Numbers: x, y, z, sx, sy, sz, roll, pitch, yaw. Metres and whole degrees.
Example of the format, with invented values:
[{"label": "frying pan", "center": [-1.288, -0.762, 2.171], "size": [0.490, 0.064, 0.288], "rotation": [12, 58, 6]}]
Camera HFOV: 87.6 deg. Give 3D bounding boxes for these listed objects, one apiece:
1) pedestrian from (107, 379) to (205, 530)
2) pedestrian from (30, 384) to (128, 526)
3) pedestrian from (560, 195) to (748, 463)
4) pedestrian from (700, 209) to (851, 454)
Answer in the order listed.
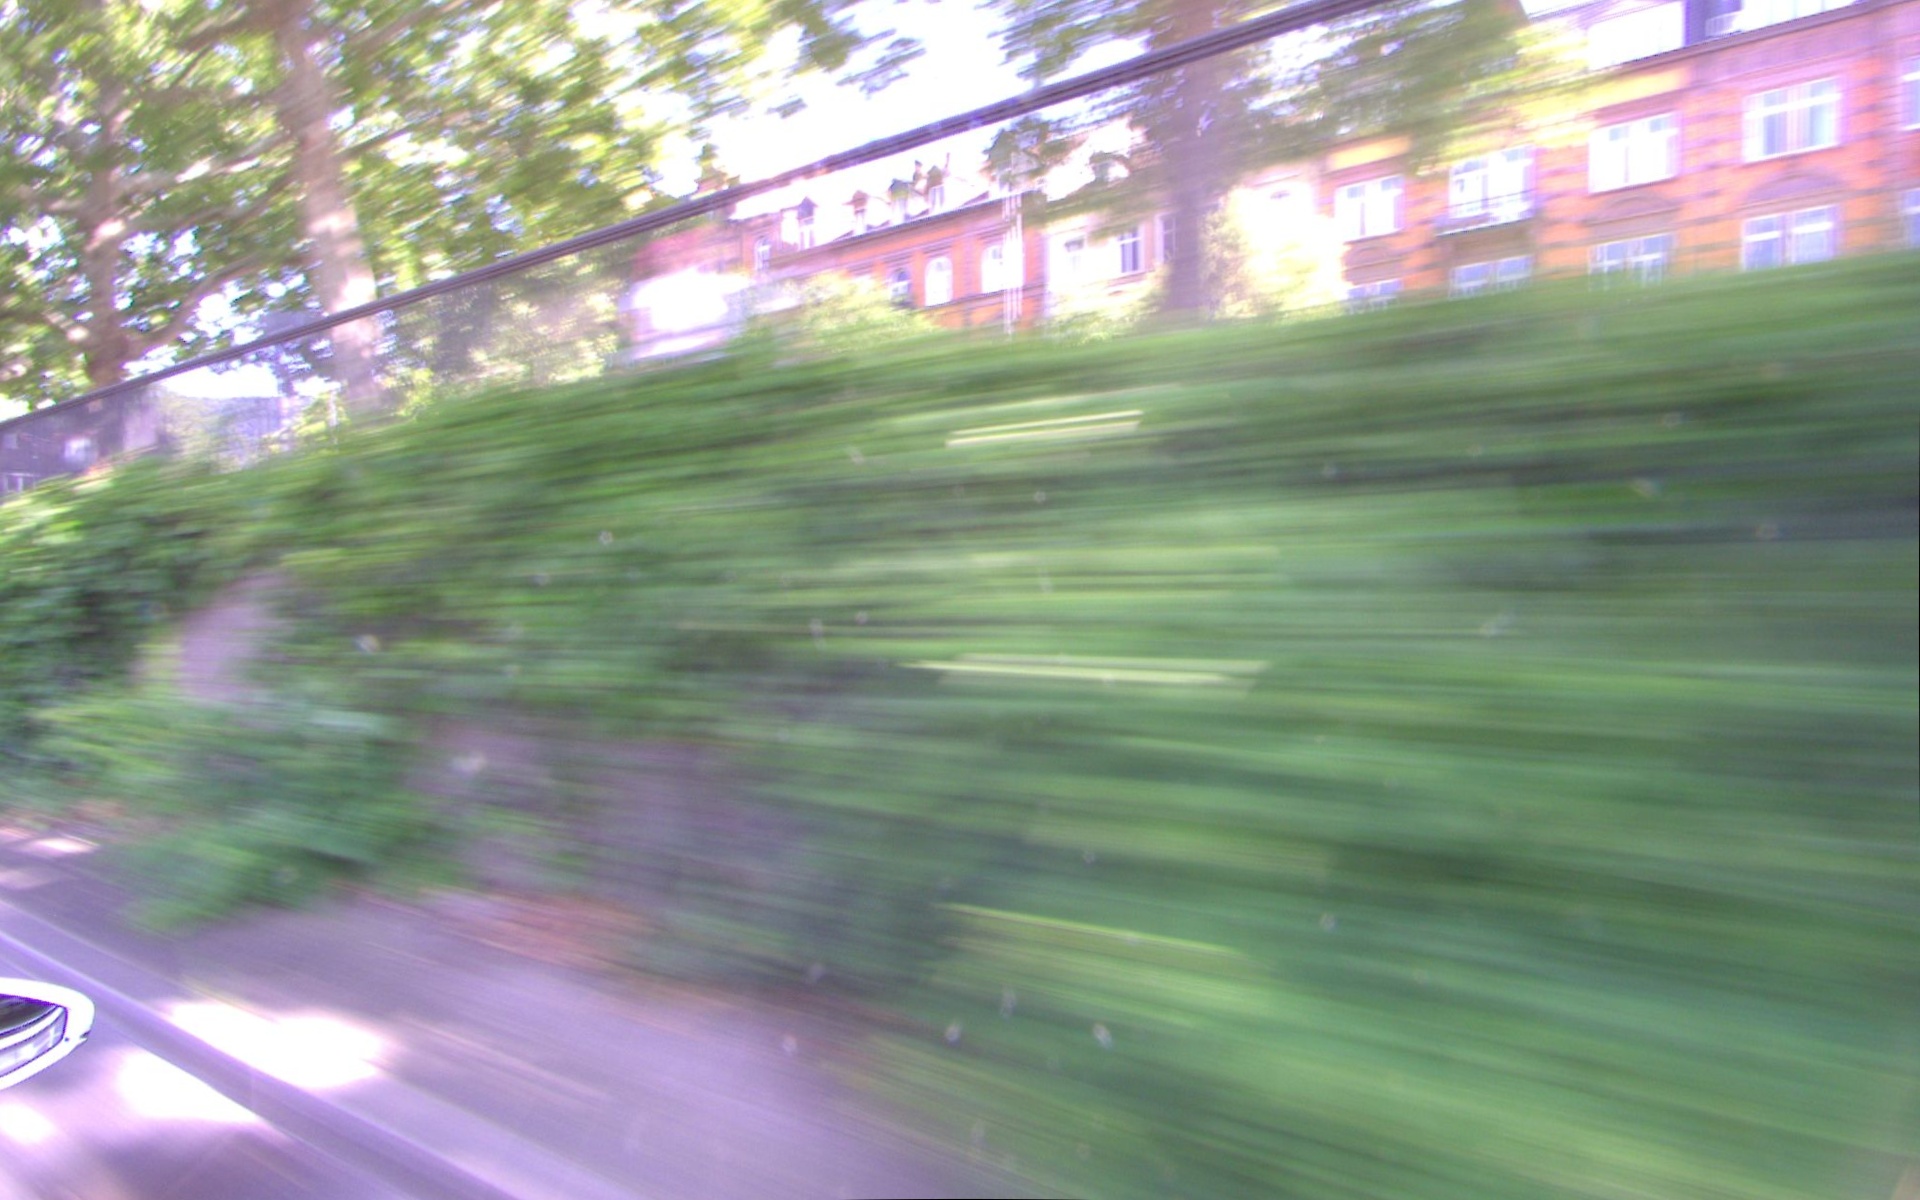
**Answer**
[{"label": "pedestrian", "center": [-9.438, -1.675, 11.764], "size": [0.616, 1.662, 0.646], "rotation": [0, 2, 24]}, {"label": "pedestrian", "center": [-9.620, -1.556, 10.939], "size": [0.579, 1.439, 0.584], "rotation": [0, 2, 24]}, {"label": "pedestrian", "center": [-1.734, -1.480, 5.715], "size": [0.731, 1.261, 0.709], "rotation": [0, 2, 31]}, {"label": "pedestrian", "center": [-1.119, -1.582, 6.107], "size": [0.681, 1.261, 0.575], "rotation": [0, 2, 31]}]
